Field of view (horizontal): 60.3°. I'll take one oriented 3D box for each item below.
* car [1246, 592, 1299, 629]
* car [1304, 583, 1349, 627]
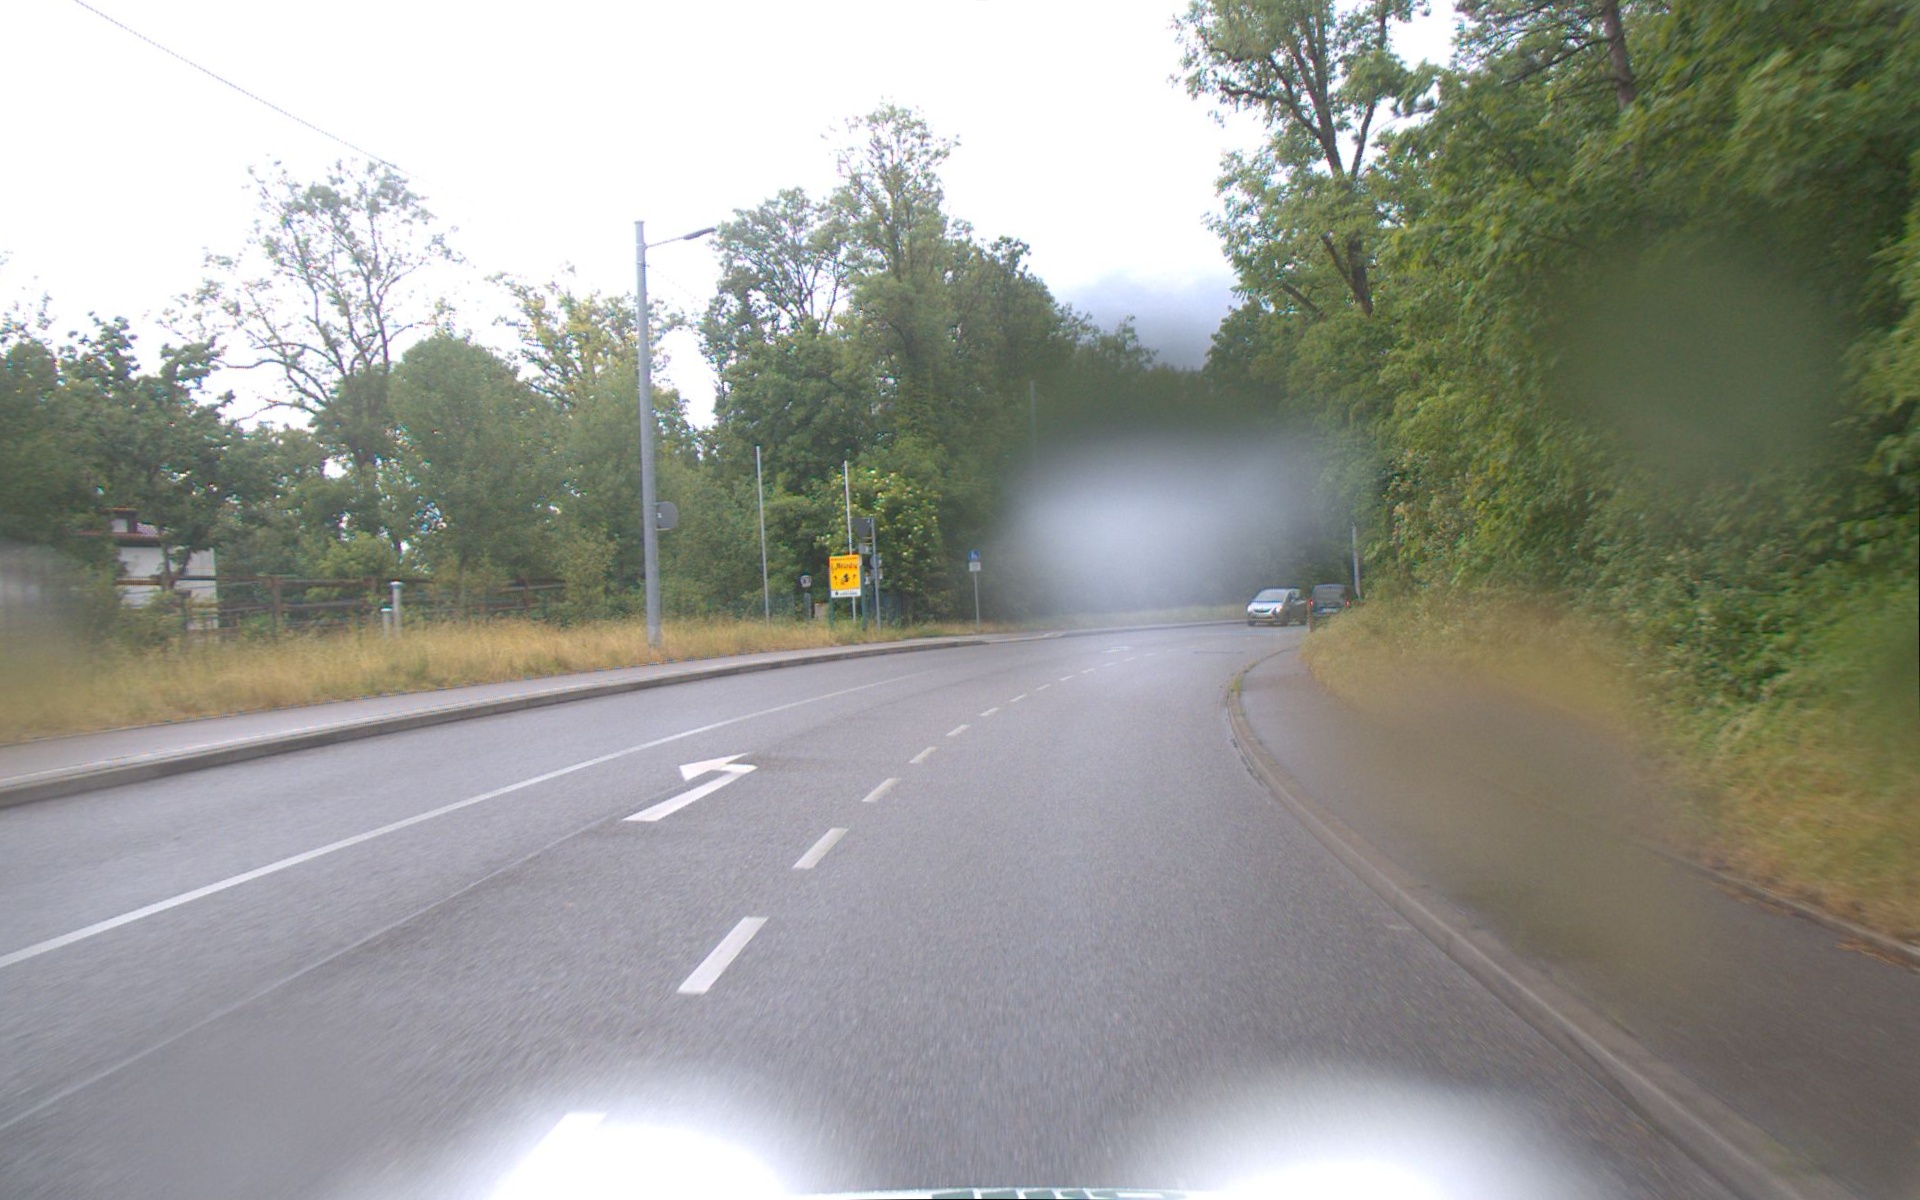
[{"bbox_3d":[14.172,0.456,74.831,1.722,1.643,4.420,0,0,19],"label":"car"},{"bbox_3d":[14.031,0.195,63.231,1.632,1.621,3.686,0,0,13],"label":"car"}]
